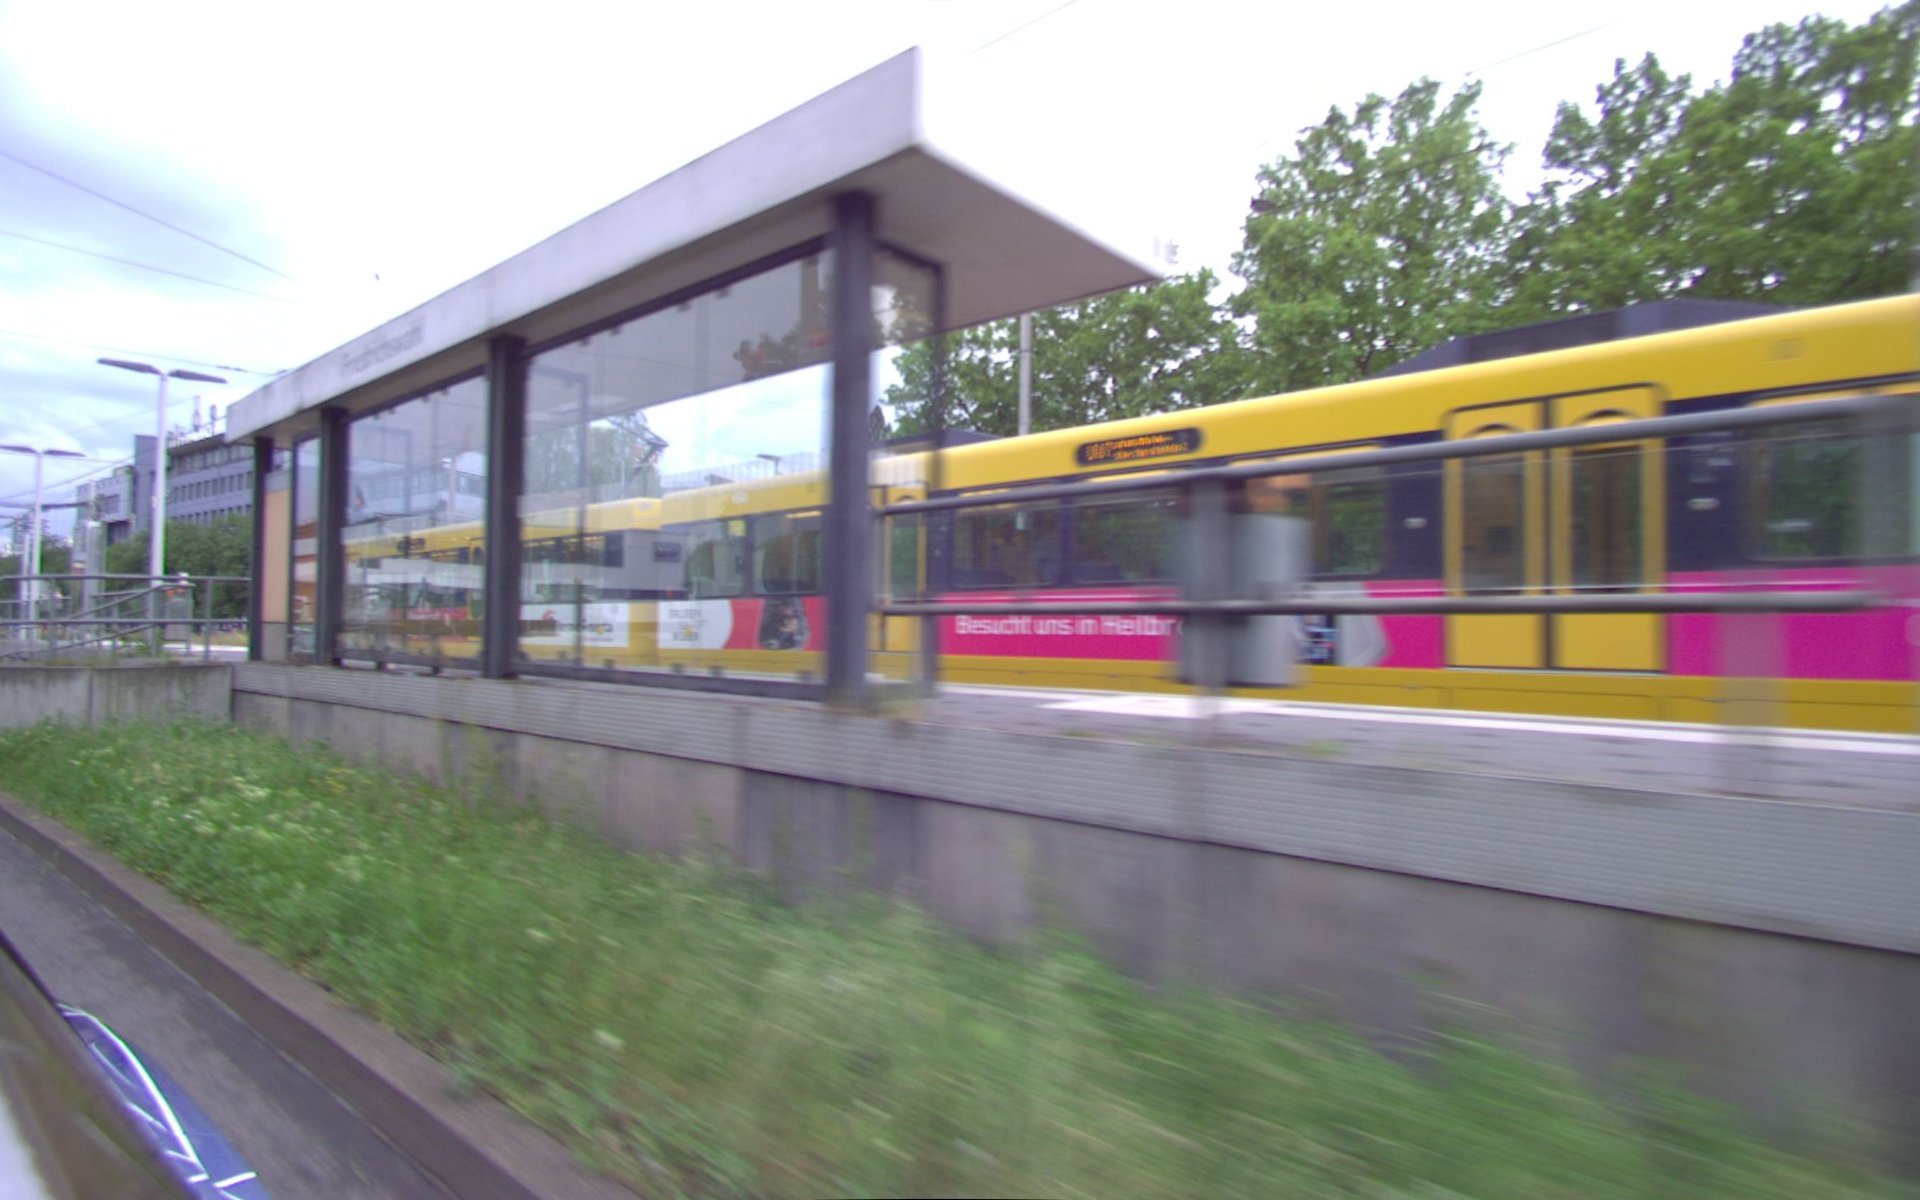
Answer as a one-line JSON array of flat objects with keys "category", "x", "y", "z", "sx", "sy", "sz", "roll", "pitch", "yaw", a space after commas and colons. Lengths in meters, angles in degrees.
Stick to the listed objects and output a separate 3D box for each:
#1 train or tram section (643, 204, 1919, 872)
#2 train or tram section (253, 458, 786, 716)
[{"category": "train or tram section", "x": 3.201, "y": -0.346, "z": 10.256, "sx": 19.327, "sy": 3.984, "sz": 2.837, "roll": -1, "pitch": 0, "yaw": 42}, {"category": "train or tram section", "x": -11.390, "y": -0.135, "z": 23.057, "sx": 19.316, "sy": 4.003, "sz": 2.839, "roll": -1, "pitch": 0, "yaw": 40}]
